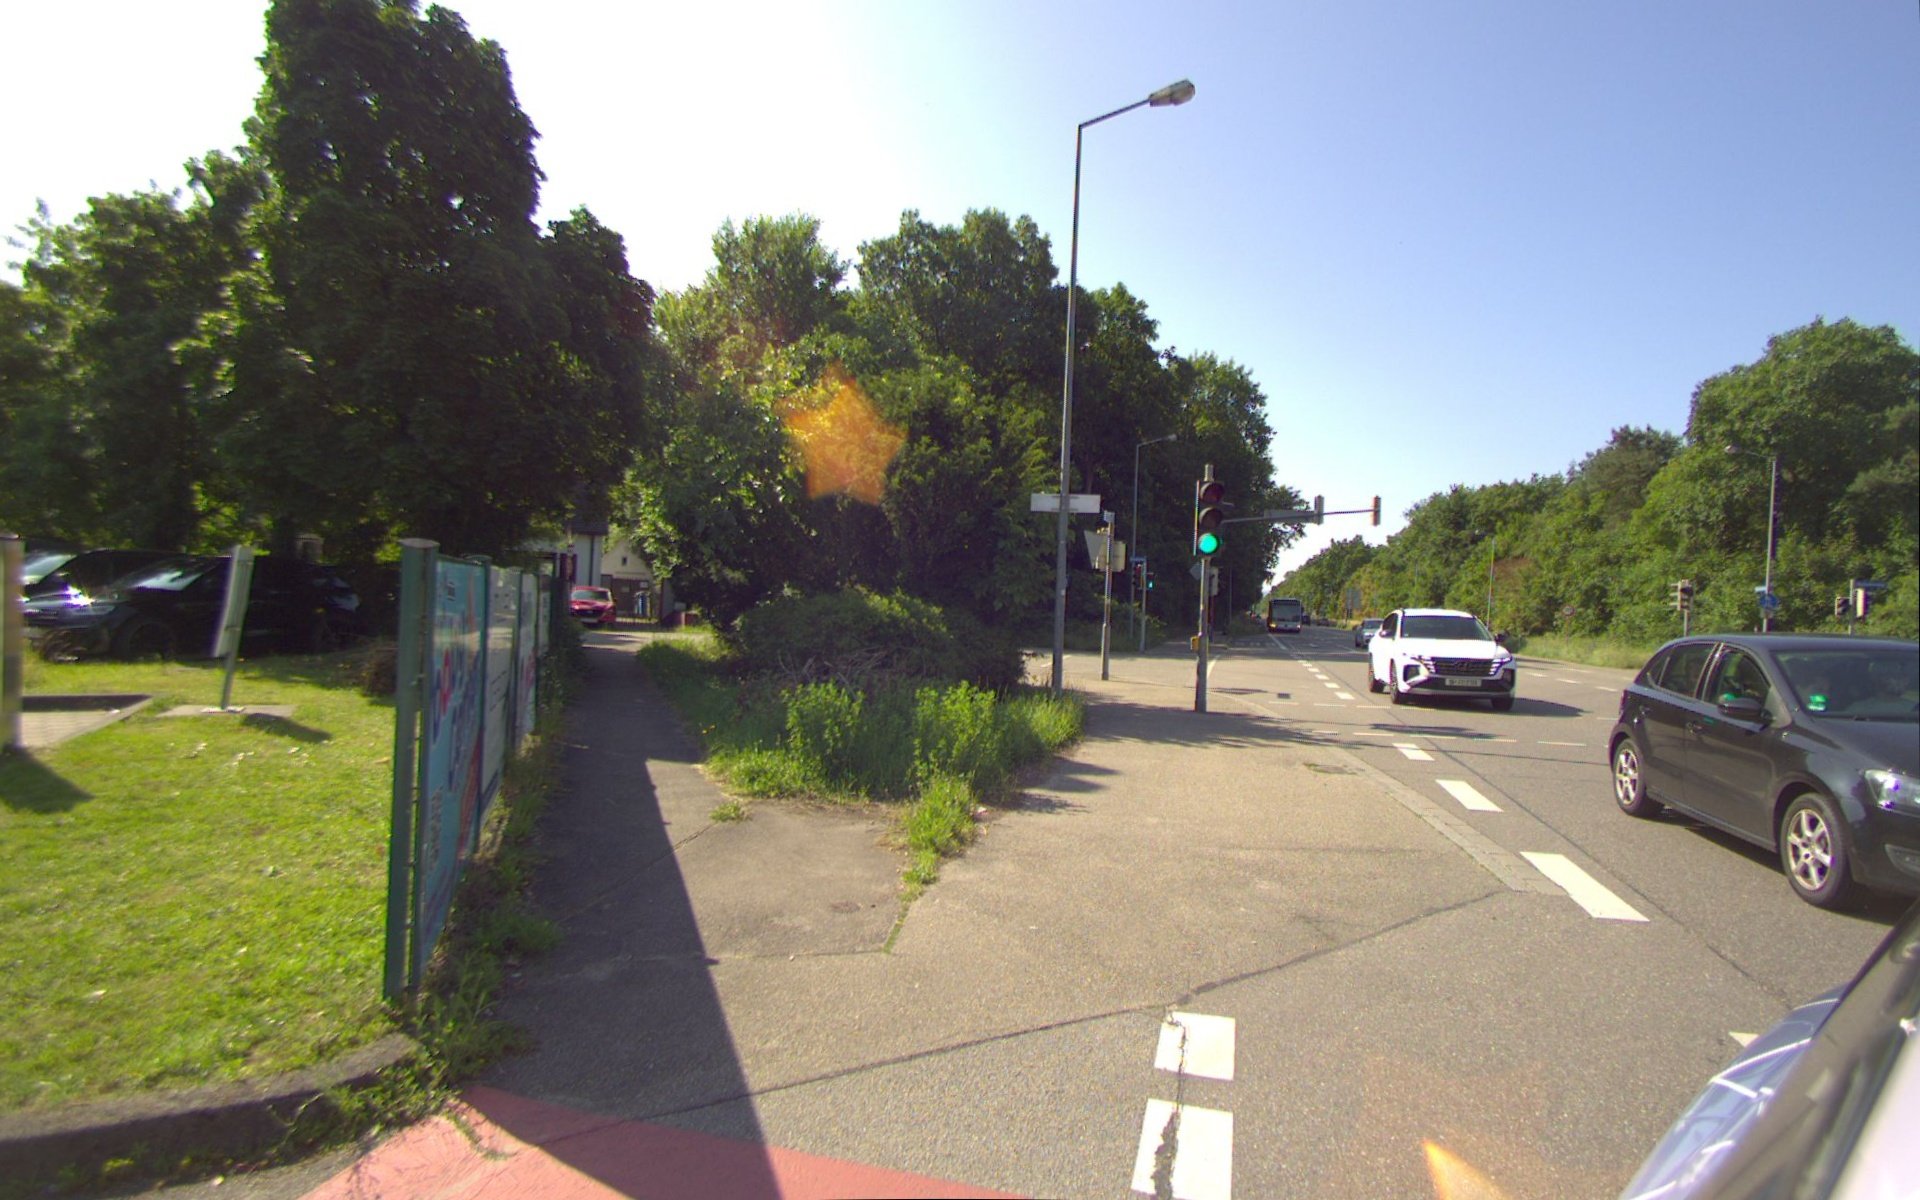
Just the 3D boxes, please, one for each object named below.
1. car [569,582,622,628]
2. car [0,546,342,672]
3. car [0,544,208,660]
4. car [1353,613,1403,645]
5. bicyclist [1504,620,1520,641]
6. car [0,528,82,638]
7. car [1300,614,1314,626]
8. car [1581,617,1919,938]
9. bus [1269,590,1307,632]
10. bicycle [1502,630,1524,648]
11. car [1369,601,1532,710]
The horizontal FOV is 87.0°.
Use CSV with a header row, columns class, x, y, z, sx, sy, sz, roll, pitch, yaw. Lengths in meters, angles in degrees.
class,x,y,z,sx,sy,sz,roll,pitch,yaw
car,-12.870,0.150,35.931,1.594,1.482,3.996,3,0,-18
car,-11.348,0.112,14.744,1.659,1.530,3.922,2,0,14
car,-14.178,0.009,15.629,1.659,1.649,3.922,2,0,14
car,20.225,1.362,49.056,1.765,1.442,4.398,1,-1,16
bicyclist,37.620,2.080,68.928,0.713,1.327,0.879,2,0,14
car,-16.905,-0.290,16.327,1.659,1.815,3.924,2,3,14
car,55.854,3.142,163.034,1.772,1.718,4.368,4,1,16
car,5.544,0.835,6.355,1.627,1.449,4.036,0,-1,14
bus,28.297,0.918,87.565,2.745,3.501,7.754,0,0,16
bicycle,37.598,2.636,68.860,0.724,1.178,2.361,2,0,15
car,8.602,0.884,18.126,1.788,1.669,4.287,1,0,15
